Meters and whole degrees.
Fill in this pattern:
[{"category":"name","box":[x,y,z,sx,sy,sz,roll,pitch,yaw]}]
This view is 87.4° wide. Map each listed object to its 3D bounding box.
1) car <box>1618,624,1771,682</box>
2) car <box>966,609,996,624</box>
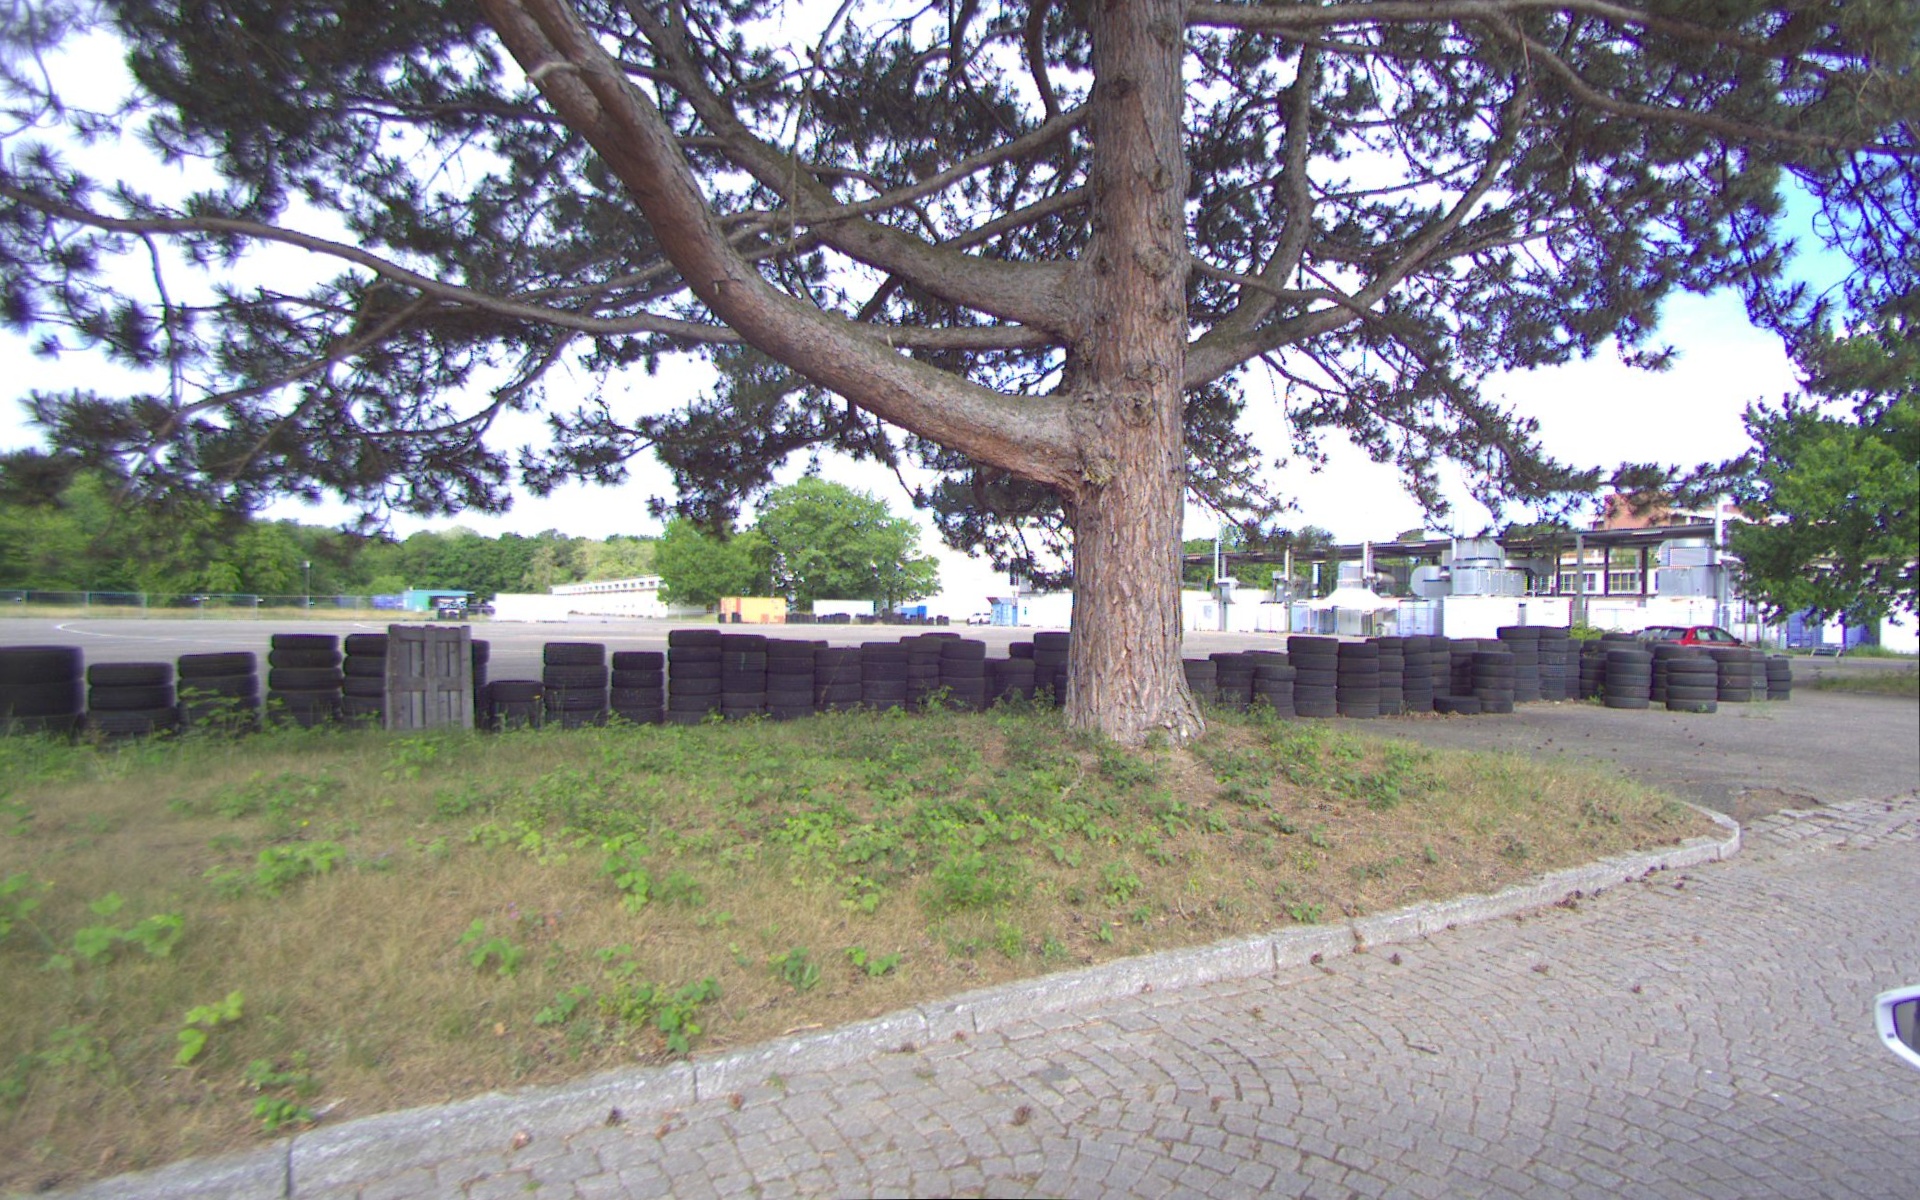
[{"category":"car","box":[19.812,1.376,27.081,4.008,1.452,1.621,1,0,-25]},{"category":"car","box":[2.498,1.966,121.507,1.808,1.655,4.087,1,0,-29]}]
